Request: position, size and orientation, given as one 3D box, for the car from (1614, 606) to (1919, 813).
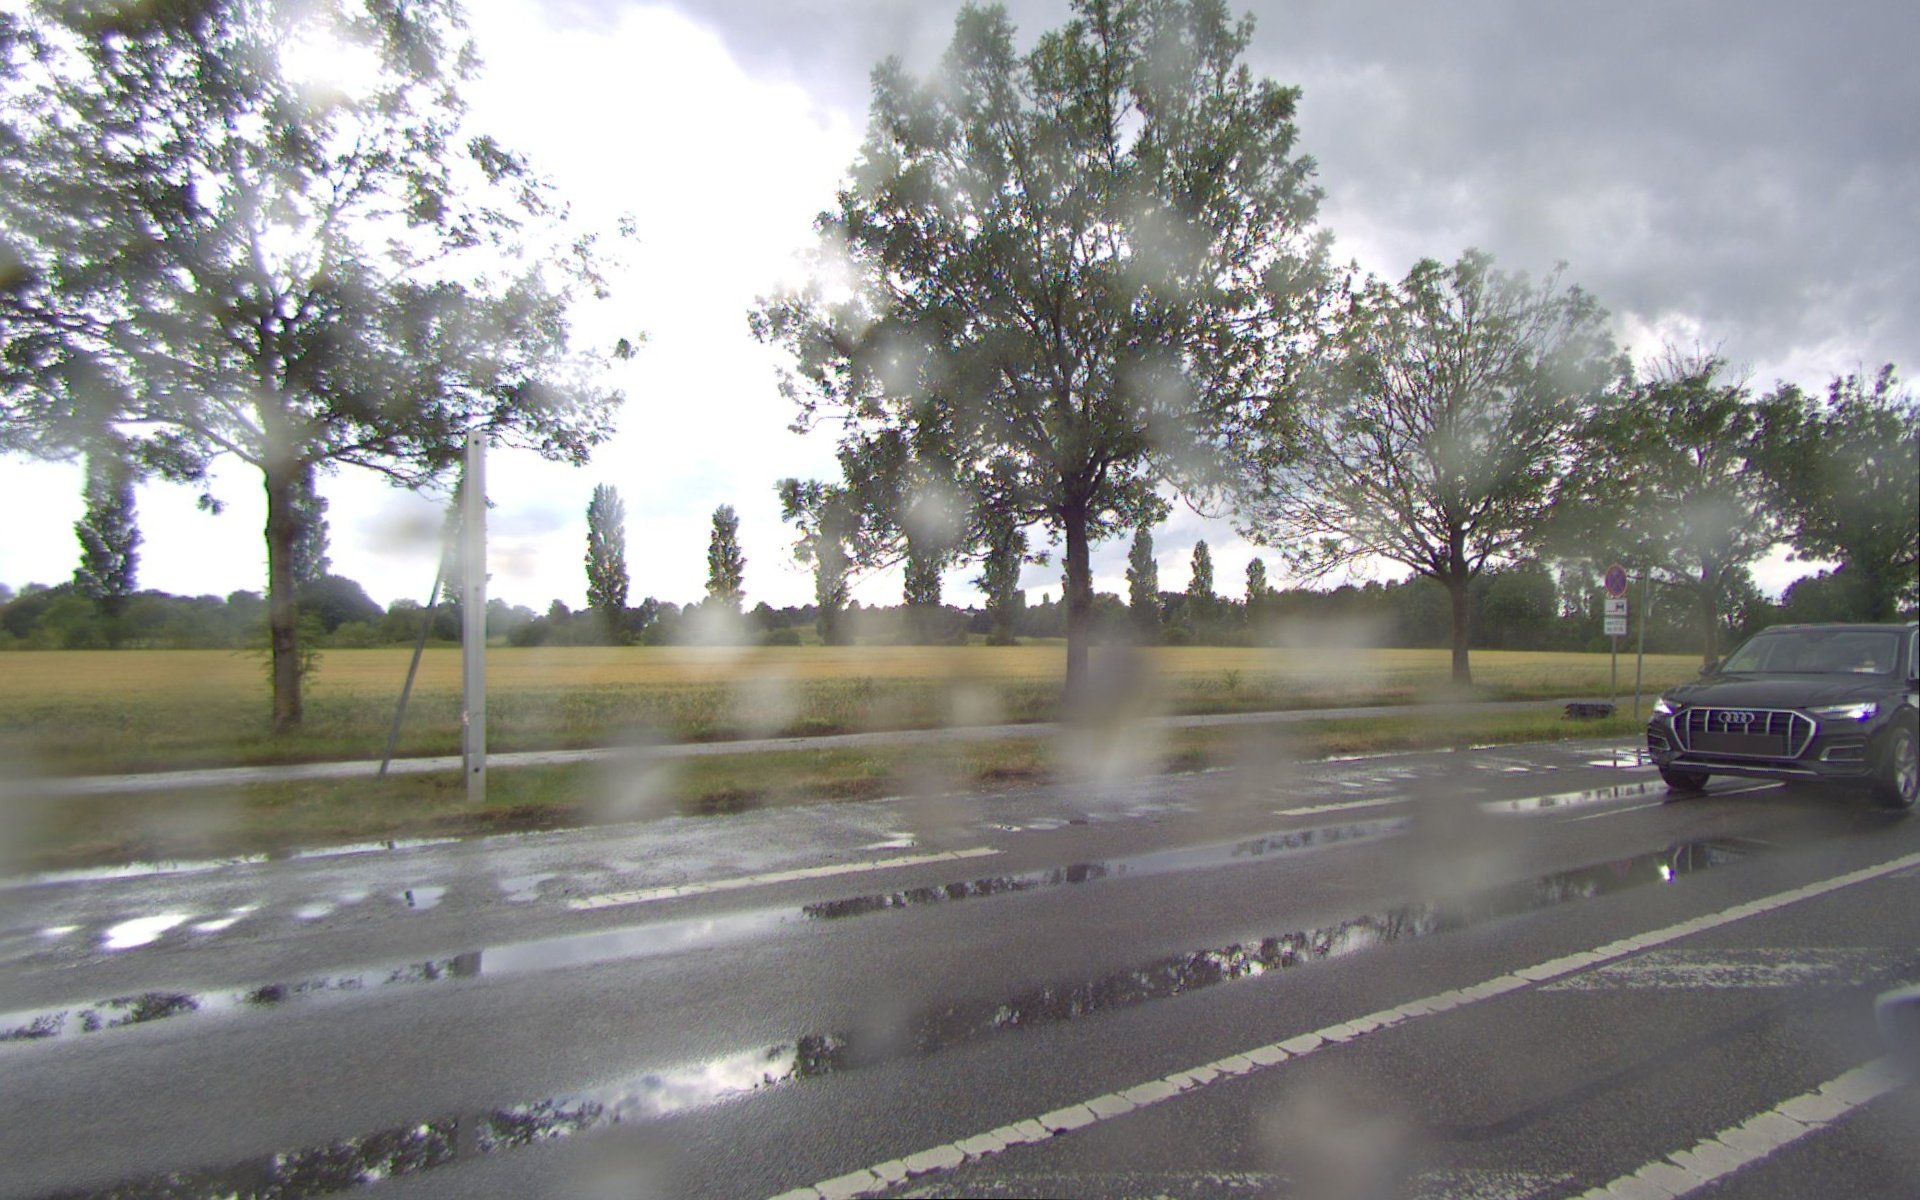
[{"bbox_3d":[8.699,1.004,9.980,4.306,1.653,1.908,2,-5,-30],"label":"car"}]
